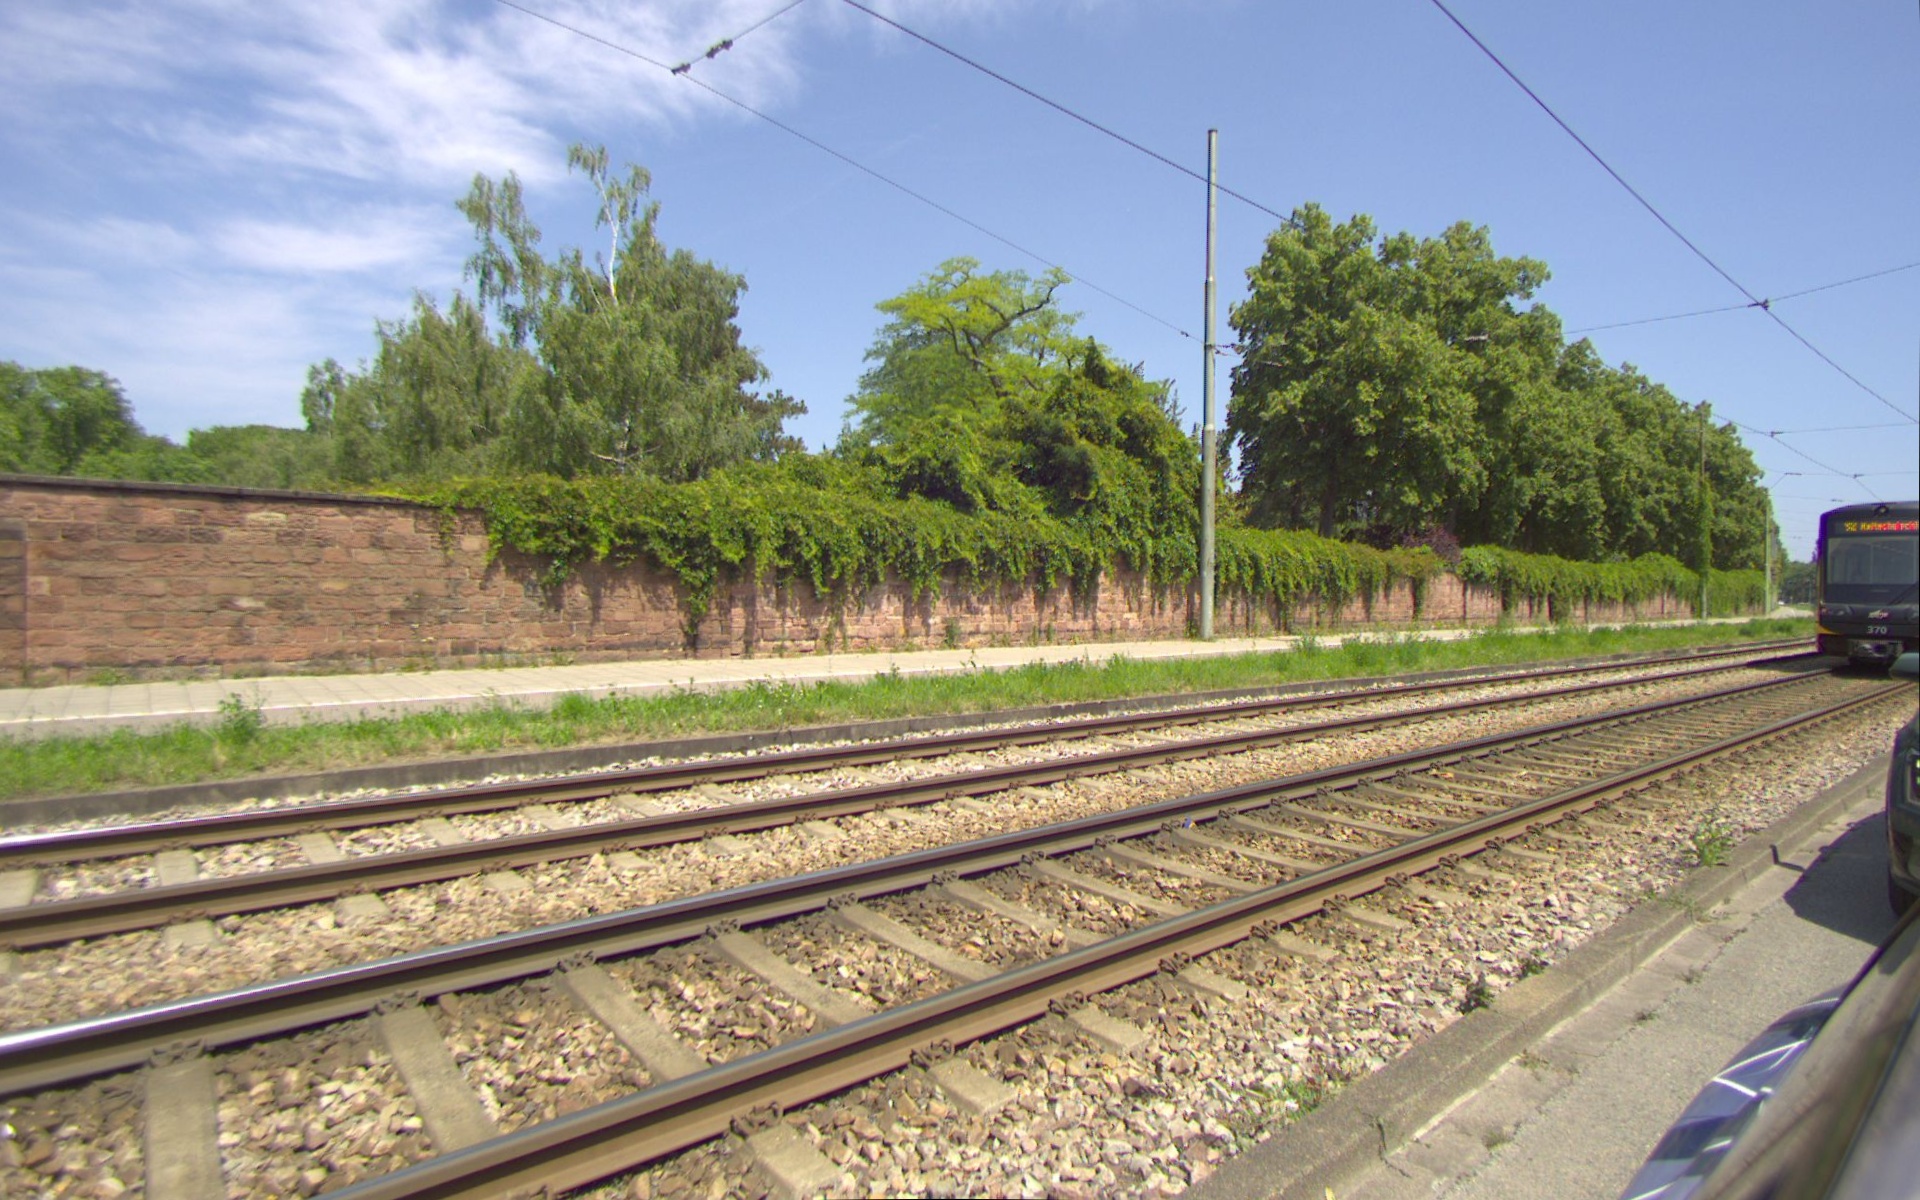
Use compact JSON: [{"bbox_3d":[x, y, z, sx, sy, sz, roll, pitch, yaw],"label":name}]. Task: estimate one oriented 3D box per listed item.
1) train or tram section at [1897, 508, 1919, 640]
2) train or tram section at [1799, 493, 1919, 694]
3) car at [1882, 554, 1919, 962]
[{"bbox_3d":[34.023,-0.840,33.445,14.010,3.859,2.782,-1,0,-40],"label":"train or tram section"},{"bbox_3d":[23.406,-0.199,24.281,14.013,3.855,2.811,-1,0,-41],"label":"train or tram section"},{"bbox_3d":[5.919,0.624,4.826,4.349,1.603,1.757,0,0,-41],"label":"car"}]
